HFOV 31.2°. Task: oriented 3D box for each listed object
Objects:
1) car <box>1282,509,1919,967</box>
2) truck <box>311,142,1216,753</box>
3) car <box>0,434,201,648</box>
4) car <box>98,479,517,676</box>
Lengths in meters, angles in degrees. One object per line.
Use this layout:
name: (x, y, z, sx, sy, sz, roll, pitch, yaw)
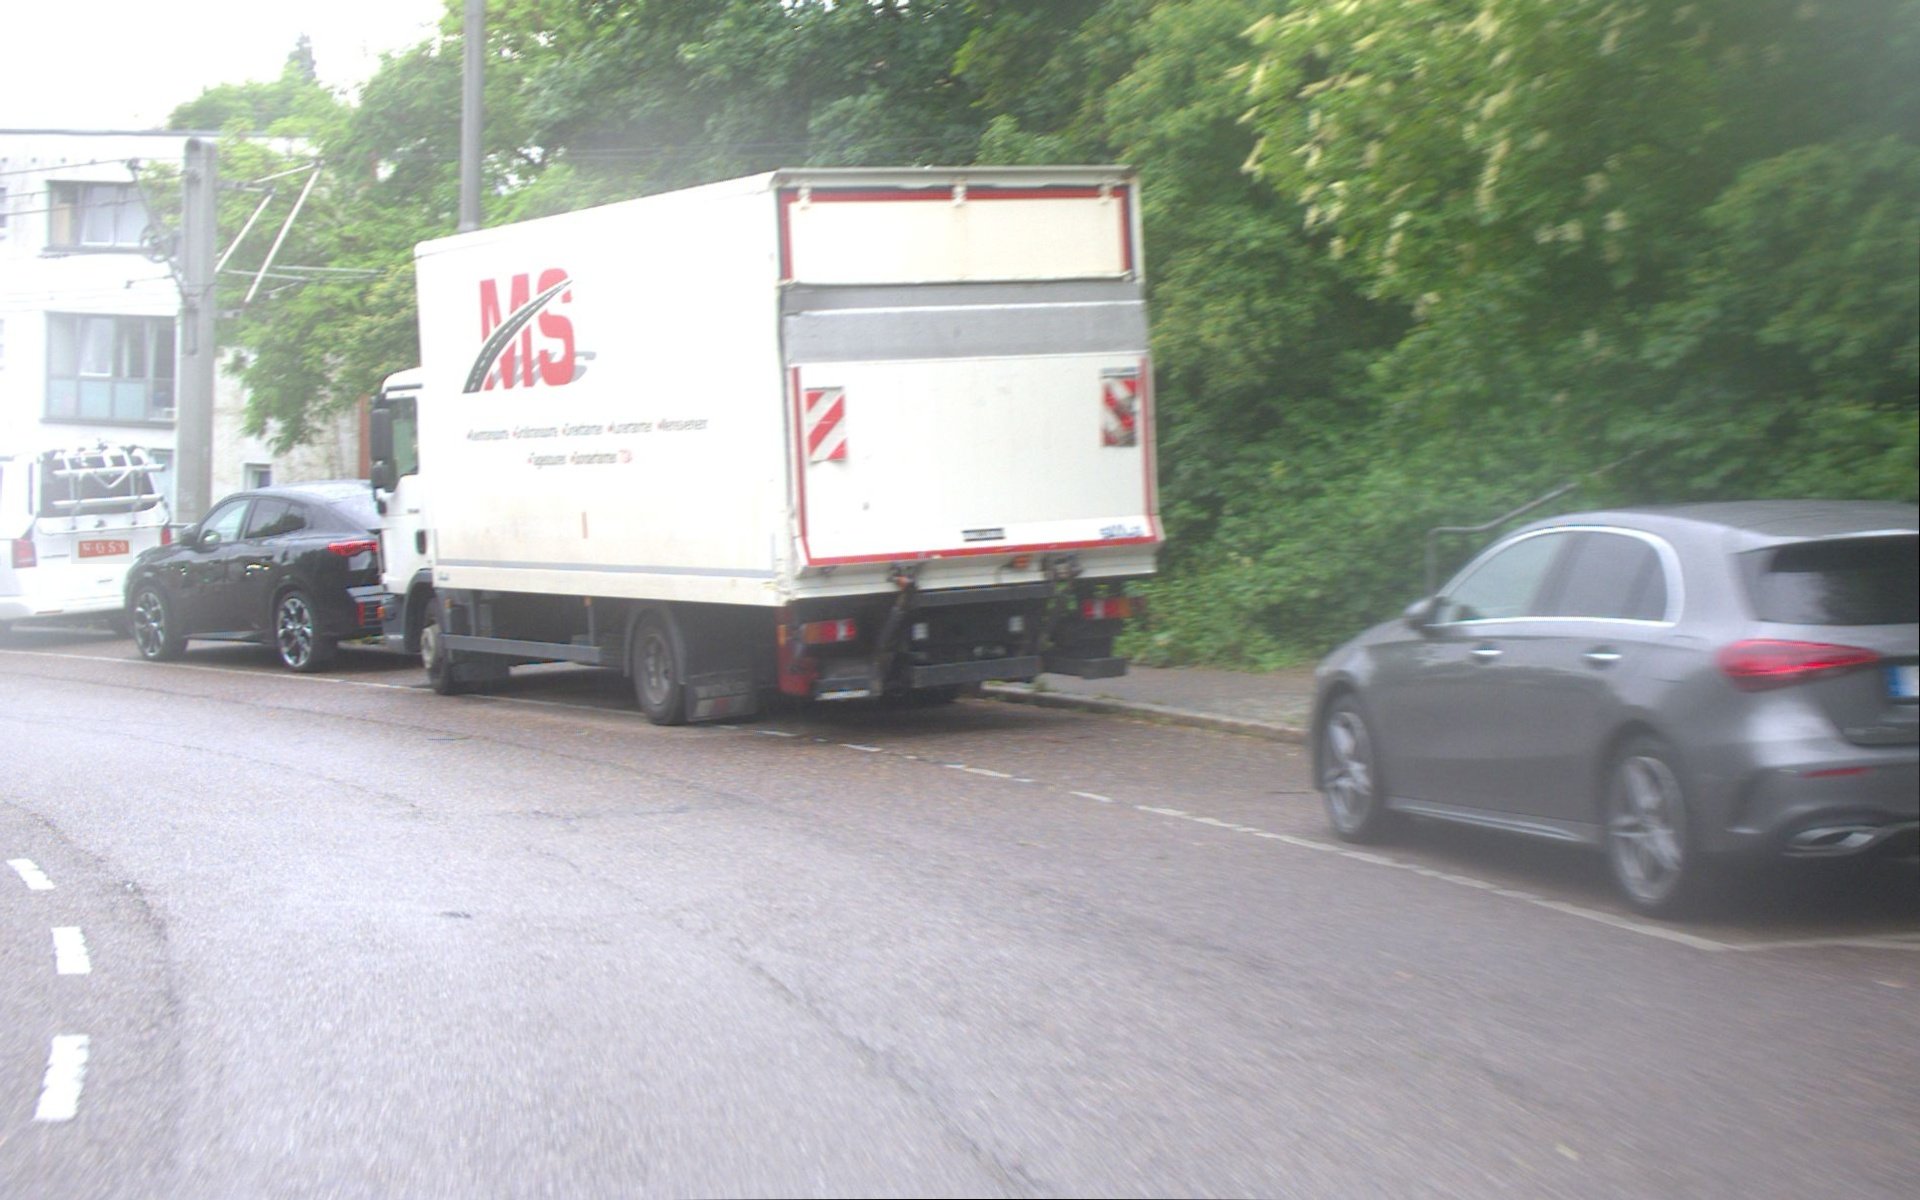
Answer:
car: (2.830, 0.394, 13.475, 1.720, 1.439, 4.126, -2, 2, -16)
truck: (-1.773, -1.068, 24.407, 3.007, 3.561, 8.337, -4, 3, -28)
car: (-9.974, -0.625, 35.238, 4.688, 2.006, 1.878, 1, 4, 43)
car: (-5.859, -0.244, 30.539, 1.719, 1.550, 4.275, -5, 4, -40)
